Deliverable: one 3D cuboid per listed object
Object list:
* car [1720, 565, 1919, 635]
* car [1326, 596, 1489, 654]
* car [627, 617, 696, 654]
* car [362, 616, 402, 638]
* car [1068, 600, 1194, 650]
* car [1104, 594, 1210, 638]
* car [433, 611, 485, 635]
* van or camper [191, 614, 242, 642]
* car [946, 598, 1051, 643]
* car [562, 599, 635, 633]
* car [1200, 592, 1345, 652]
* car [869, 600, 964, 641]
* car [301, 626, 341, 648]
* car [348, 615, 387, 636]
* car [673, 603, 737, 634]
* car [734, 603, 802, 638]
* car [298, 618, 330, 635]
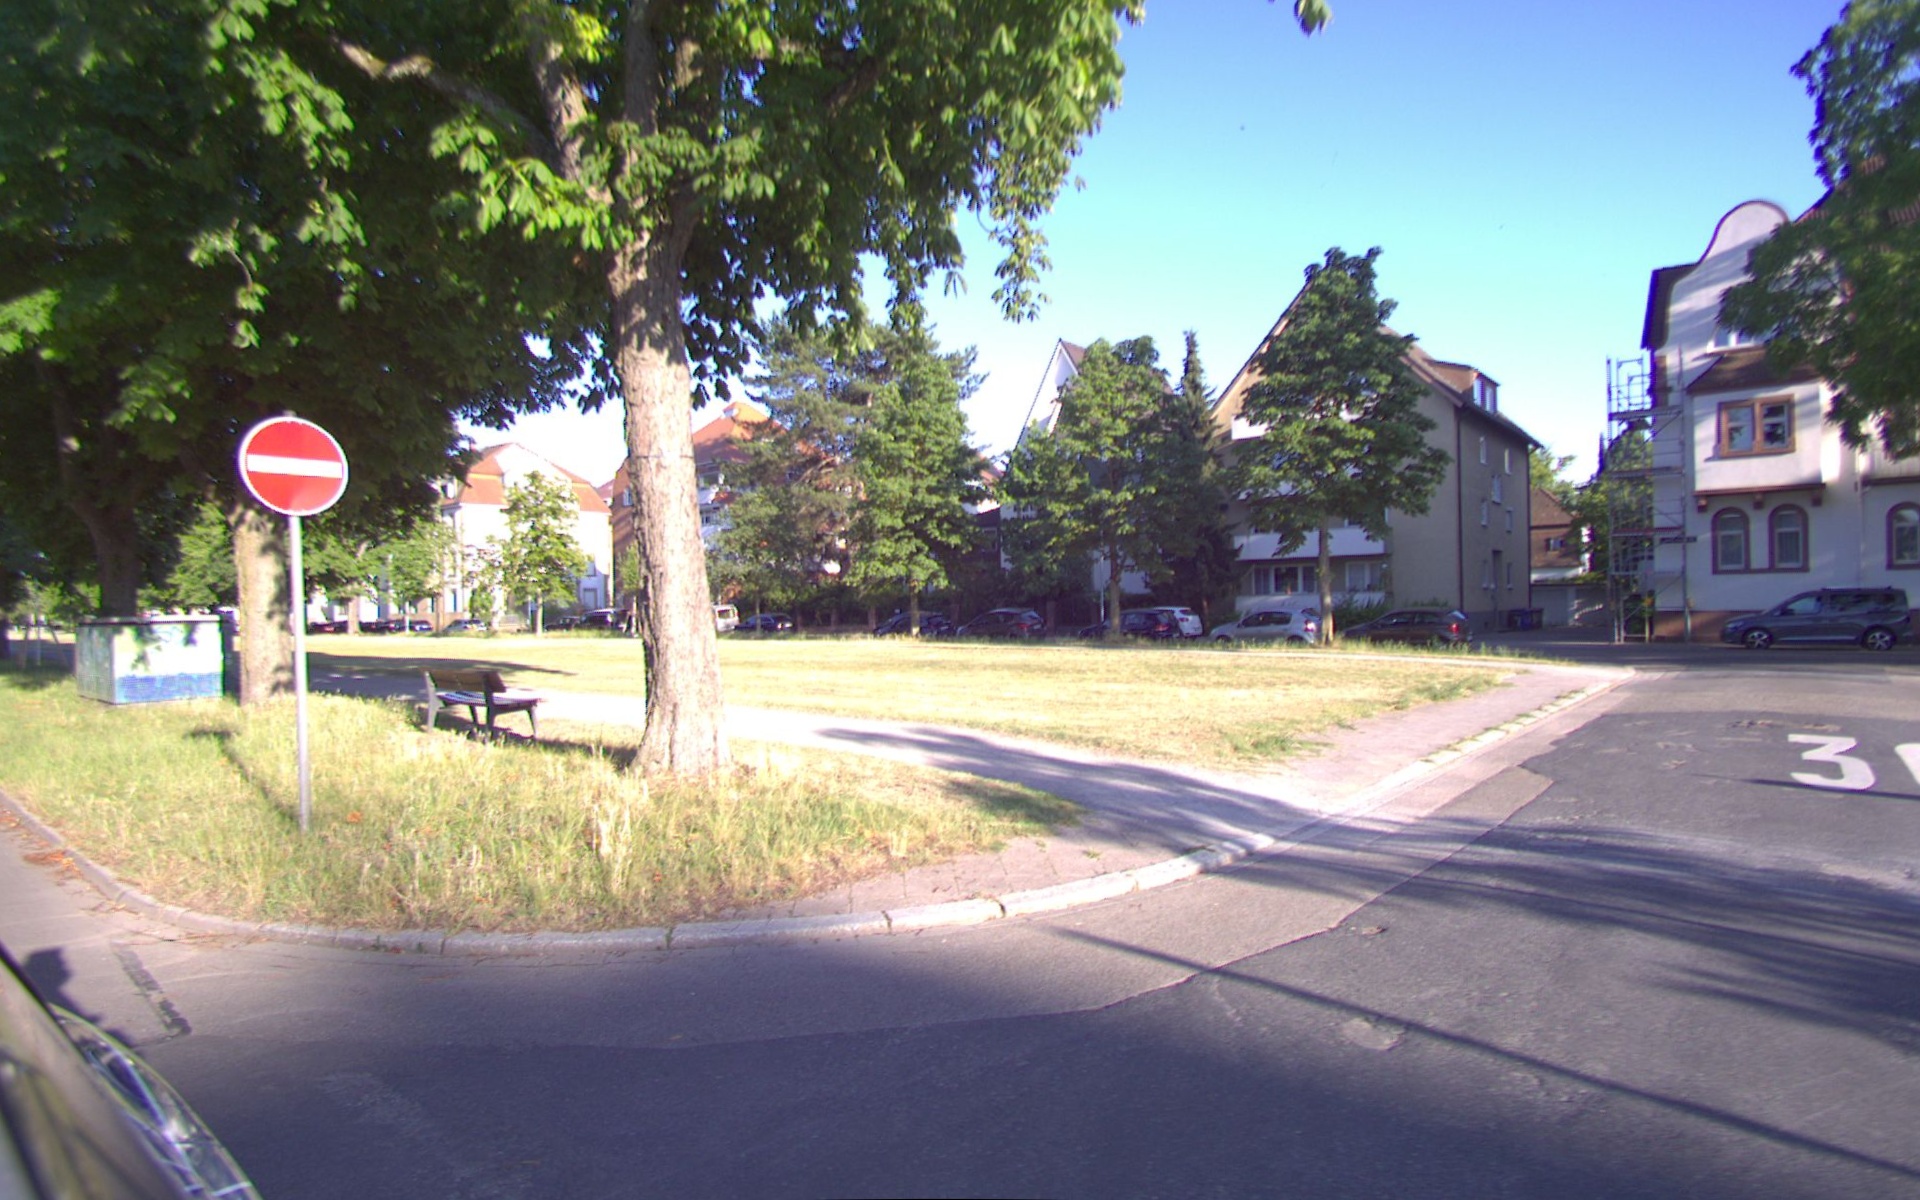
[{"bbox_3d":[25.100,0.038,29.623,4.489,1.890,1.975,-2,0,38],"label":"car"},{"bbox_3d":[13.938,0.761,31.670,4.254,1.661,1.972,-1,1,42],"label":"car"},{"bbox_3d":[-17.343,2.049,58.706,3.998,2.029,1.973,-2,0,41],"label":"car"},{"bbox_3d":[-56.568,2.614,98.932,4.875,2.029,1.972,-2,0,42],"label":"car"},{"bbox_3d":[6.386,0.928,38.036,4.254,1.734,1.972,-1,1,42],"label":"car"},{"bbox_3d":[8.467,0.687,43.549,3.995,1.796,1.974,-1,1,38],"label":"car"},{"bbox_3d":[-37.597,1.738,75.866,4.647,1.652,1.801,-2,0,40],"label":"car"},{"bbox_3d":[-88.047,3.354,119.766,7.892,3.134,3.220,-2,0,41],"label":"van or camper"},{"bbox_3d":[1.553,0.842,41.940,4.000,1.696,1.972,-1,1,43],"label":"car"},{"bbox_3d":[-22.518,0.993,62.970,5.243,1.955,1.973,-3,-1,42],"label":"car"},{"bbox_3d":[10.562,0.720,34.377,4.254,1.874,1.972,-1,1,42],"label":"car"},{"bbox_3d":[-1.972,0.921,45.297,4.000,1.696,1.972,-1,1,43],"label":"car"},{"bbox_3d":[-60.951,3.527,96.440,4.875,2.029,1.972,-2,0,42],"label":"car"},{"bbox_3d":[-60.459,2.647,103.187,4.424,2.029,1.974,-2,0,39],"label":"car"},{"bbox_3d":[-16.442,1.198,65.214,4.406,1.851,1.798,-2,0,41],"label":"car"},{"bbox_3d":[-11.569,1.258,60.972,3.999,2.029,1.972,-2,-1,42],"label":"car"},{"bbox_3d":[-72.486,2.995,113.521,3.999,1.748,1.972,-2,-1,42],"label":"car"}]
